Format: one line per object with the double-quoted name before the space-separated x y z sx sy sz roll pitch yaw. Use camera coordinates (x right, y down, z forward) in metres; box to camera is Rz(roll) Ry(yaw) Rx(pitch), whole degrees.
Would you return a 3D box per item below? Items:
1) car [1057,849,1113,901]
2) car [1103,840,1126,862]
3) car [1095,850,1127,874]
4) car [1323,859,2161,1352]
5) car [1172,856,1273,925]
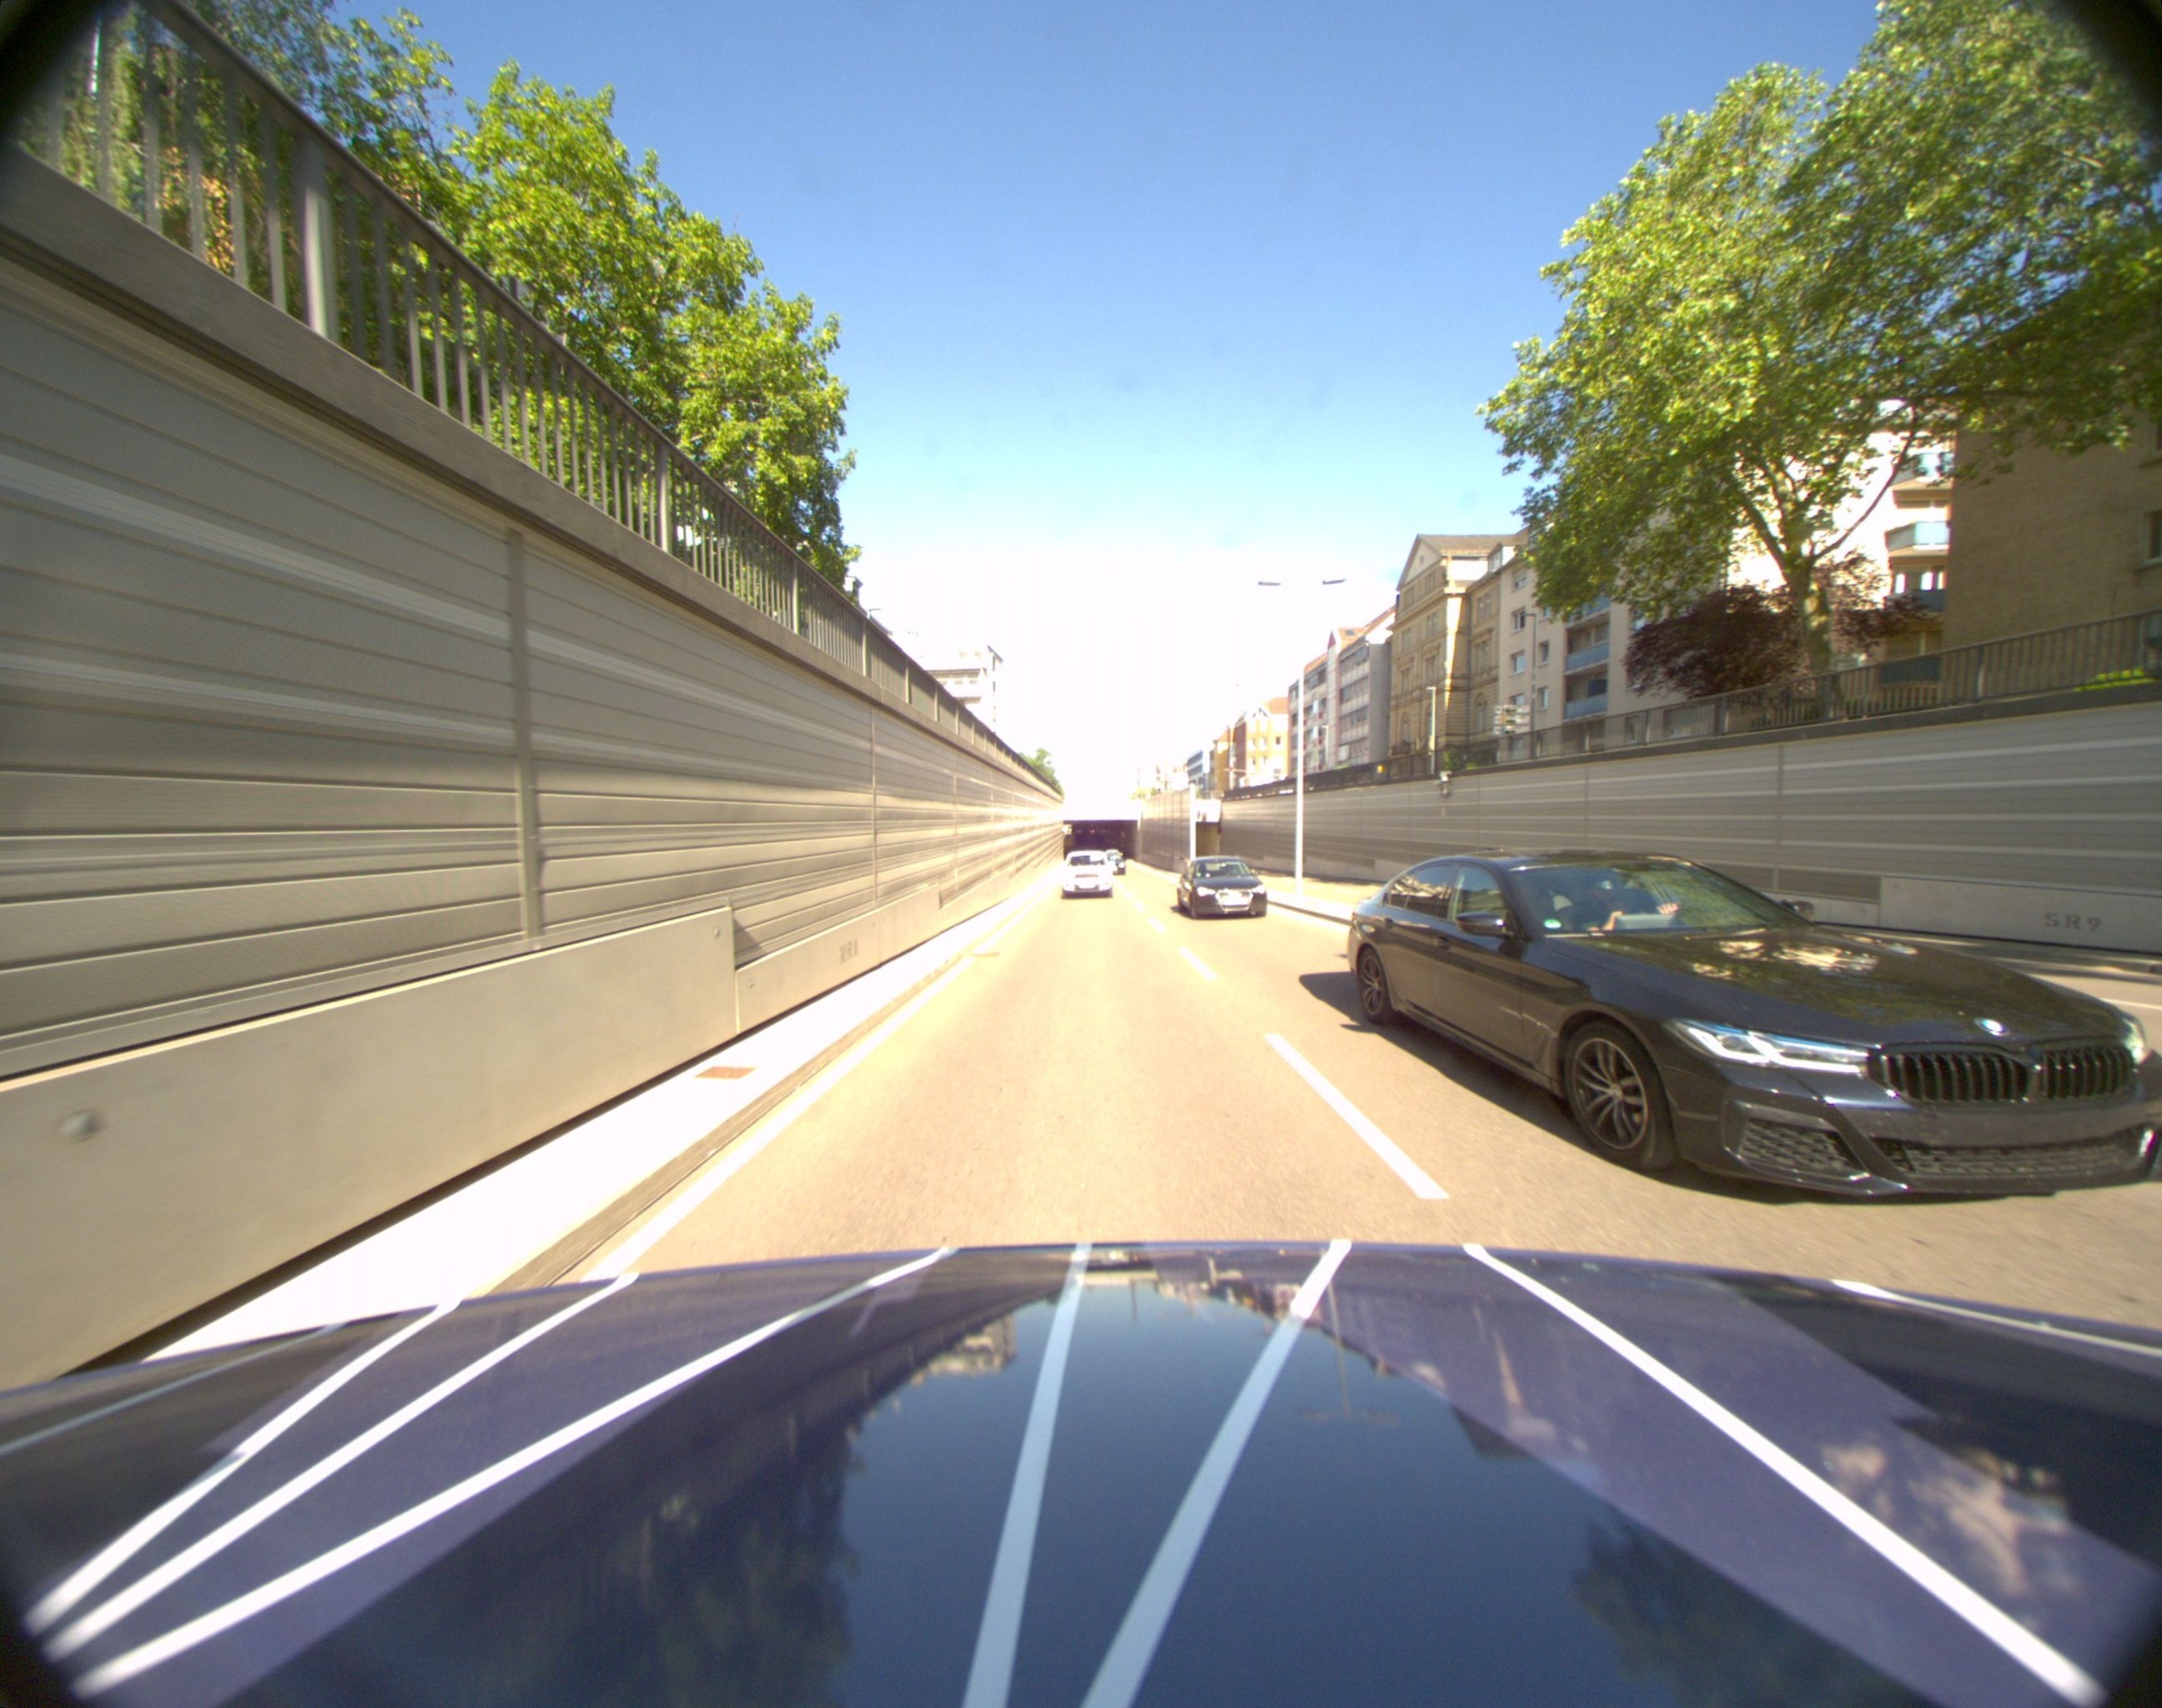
"car" 0.166 0.723 28.034 1.855 1.658 3.969 -2 1 1
"car" 3.435 -0.324 78.647 1.999 2.003 3.998 -2 3 -1
"car" 1.989 0.533 51.383 1.998 1.408 3.999 -2 1 1
"car" 3.286 0.826 4.924 1.813 1.431 5.001 -2 1 0
"car" 3.312 0.797 18.437 1.700 1.410 3.888 -2 1 0
